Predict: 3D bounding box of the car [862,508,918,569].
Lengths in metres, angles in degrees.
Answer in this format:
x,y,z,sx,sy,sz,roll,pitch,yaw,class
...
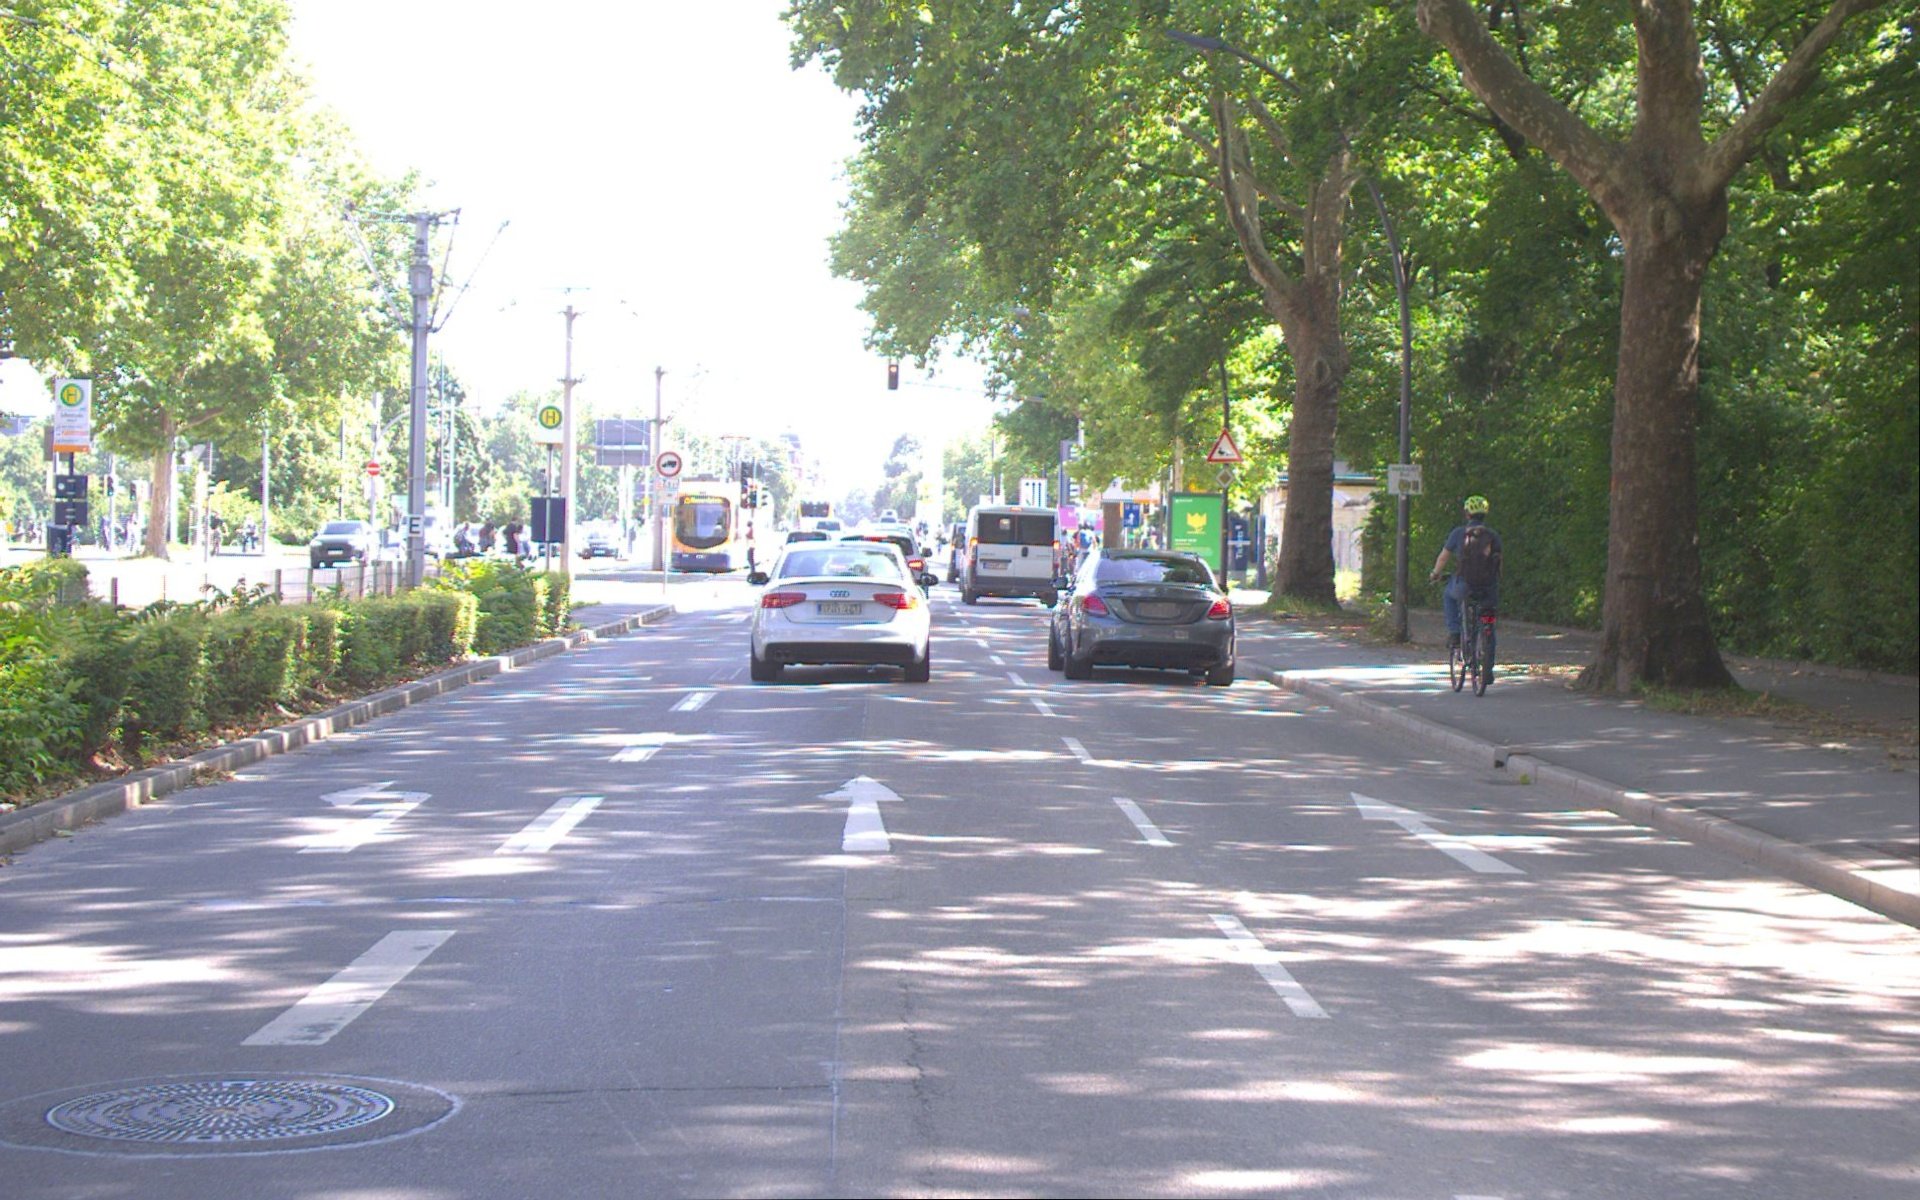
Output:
x,y,z,sx,sy,sz,roll,pitch,yaw,class
-2.255,-2.008,111.455,1.729,1.895,4.000,2,1,-1,car

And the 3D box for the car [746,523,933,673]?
x,y,z,sx,sy,sz,roll,pitch,yaw,class
-1.199,-0.058,35.426,1.784,1.416,3.885,2,1,-1,car

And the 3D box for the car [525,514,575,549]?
x,y,z,sx,sy,sz,roll,pitch,yaw,class
-19.487,-3.275,163.566,1.871,1.603,4.000,2,1,0,car

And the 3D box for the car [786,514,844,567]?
x,y,z,sx,sy,sz,roll,pitch,yaw,class
-4.661,-1.921,110.947,1.729,1.625,4.000,2,1,-1,car

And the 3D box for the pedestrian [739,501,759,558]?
x,y,z,sx,sy,sz,roll,pitch,yaw,class
-7.255,-2.425,118.221,0.624,1.911,0.690,2,1,0,pedestrian

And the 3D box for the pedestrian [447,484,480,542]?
x,y,z,sx,sy,sz,roll,pitch,yaw,class
-14.142,-2.481,97.938,0.757,1.617,0.595,1,1,-26,pedestrian

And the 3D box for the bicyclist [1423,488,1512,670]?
x,y,z,sx,sy,sz,roll,pitch,yaw,class
4.704,-0.207,31.929,0.634,1.642,0.979,-1,3,-2,bicyclist

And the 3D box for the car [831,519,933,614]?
x,y,z,sx,sy,sz,roll,pitch,yaw,class
-1.379,-0.626,61.527,1.729,1.599,3.885,2,1,-1,car

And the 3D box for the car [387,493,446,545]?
x,y,z,sx,sy,sz,roll,pitch,yaw,class
-25.578,-3.803,161.761,2.114,2.374,4.000,1,1,0,car

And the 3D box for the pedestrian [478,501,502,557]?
x,y,z,sx,sy,sz,roll,pitch,yaw,class
-13.883,-2.107,101.545,0.593,1.641,0.554,2,1,0,pedestrian

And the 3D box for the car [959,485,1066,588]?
x,y,z,sx,sy,sz,roll,pitch,yaw,class
1.142,-1.433,77.332,2.230,2.204,4.162,2,1,-1,car

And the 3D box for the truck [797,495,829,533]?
x,y,z,sx,sy,sz,roll,pitch,yaw,class
-11.200,-6.570,262.599,1.993,2.780,8.519,2,1,0,truck

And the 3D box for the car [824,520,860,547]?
x,y,z,sx,sy,sz,roll,pitch,yaw,class
-7.187,-4.050,209.275,1.871,1.603,4.000,2,1,2,car

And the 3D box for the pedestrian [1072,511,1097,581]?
x,y,z,sx,sy,sz,roll,pitch,yaw,class
3.524,-1.532,97.483,0.635,1.939,0.719,2,1,0,pedestrian

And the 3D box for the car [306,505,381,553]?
x,y,z,sx,sy,sz,roll,pitch,yaw,class
-21.894,-2.535,122.250,1.830,1.618,4.897,1,1,-1,car

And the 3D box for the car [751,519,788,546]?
x,y,z,sx,sy,sz,roll,pitch,yaw,class
-11.579,-4.127,209.444,1.871,1.603,4.000,2,1,2,car

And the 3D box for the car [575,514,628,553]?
x,y,z,sx,sy,sz,roll,pitch,yaw,class
-16.439,-3.063,157.845,1.993,1.728,4.000,2,1,0,car

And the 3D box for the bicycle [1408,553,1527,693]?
x,y,z,sx,sy,sz,roll,pitch,yaw,class
4.713,0.193,32.053,0.714,1.144,2.179,-1,3,-2,bicycle

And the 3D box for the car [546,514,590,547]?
x,y,z,sx,sy,sz,roll,pitch,yaw,class
-19.776,-3.526,173.428,1.763,1.603,3.860,2,1,0,car

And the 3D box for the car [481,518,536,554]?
x,y,z,sx,sy,sz,roll,pitch,yaw,class
-19.500,-2.775,148.510,1.796,1.483,4.385,2,1,0,car

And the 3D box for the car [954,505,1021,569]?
x,y,z,sx,sy,sz,roll,pitch,yaw,class
0.872,-2.071,112.137,2.072,1.992,4.058,2,1,-1,car

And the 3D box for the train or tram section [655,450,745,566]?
x,y,z,sx,sy,sz,roll,pitch,yaw,class
-9.363,-3.297,124.652,2.616,4.001,7.749,2,1,0,train or tram section

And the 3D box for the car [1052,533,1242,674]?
x,y,z,sx,sy,sz,roll,pitch,yaw,class
2.004,-0.003,37.791,1.782,1.415,4.000,2,1,-1,car

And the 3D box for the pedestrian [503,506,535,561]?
x,y,z,sx,sy,sz,roll,pitch,yaw,class
-13.879,-2.095,108.206,0.775,1.728,0.754,2,1,8,pedestrian

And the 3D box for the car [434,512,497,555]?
x,y,z,sx,sy,sz,roll,pitch,yaw,class
-18.511,-2.489,128.833,1.810,1.557,4.305,1,1,-1,car

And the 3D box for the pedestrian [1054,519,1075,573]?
x,y,z,sx,sy,sz,roll,pitch,yaw,class
3.287,-1.694,108.532,0.602,1.689,0.953,-1,1,-1,pedestrian
